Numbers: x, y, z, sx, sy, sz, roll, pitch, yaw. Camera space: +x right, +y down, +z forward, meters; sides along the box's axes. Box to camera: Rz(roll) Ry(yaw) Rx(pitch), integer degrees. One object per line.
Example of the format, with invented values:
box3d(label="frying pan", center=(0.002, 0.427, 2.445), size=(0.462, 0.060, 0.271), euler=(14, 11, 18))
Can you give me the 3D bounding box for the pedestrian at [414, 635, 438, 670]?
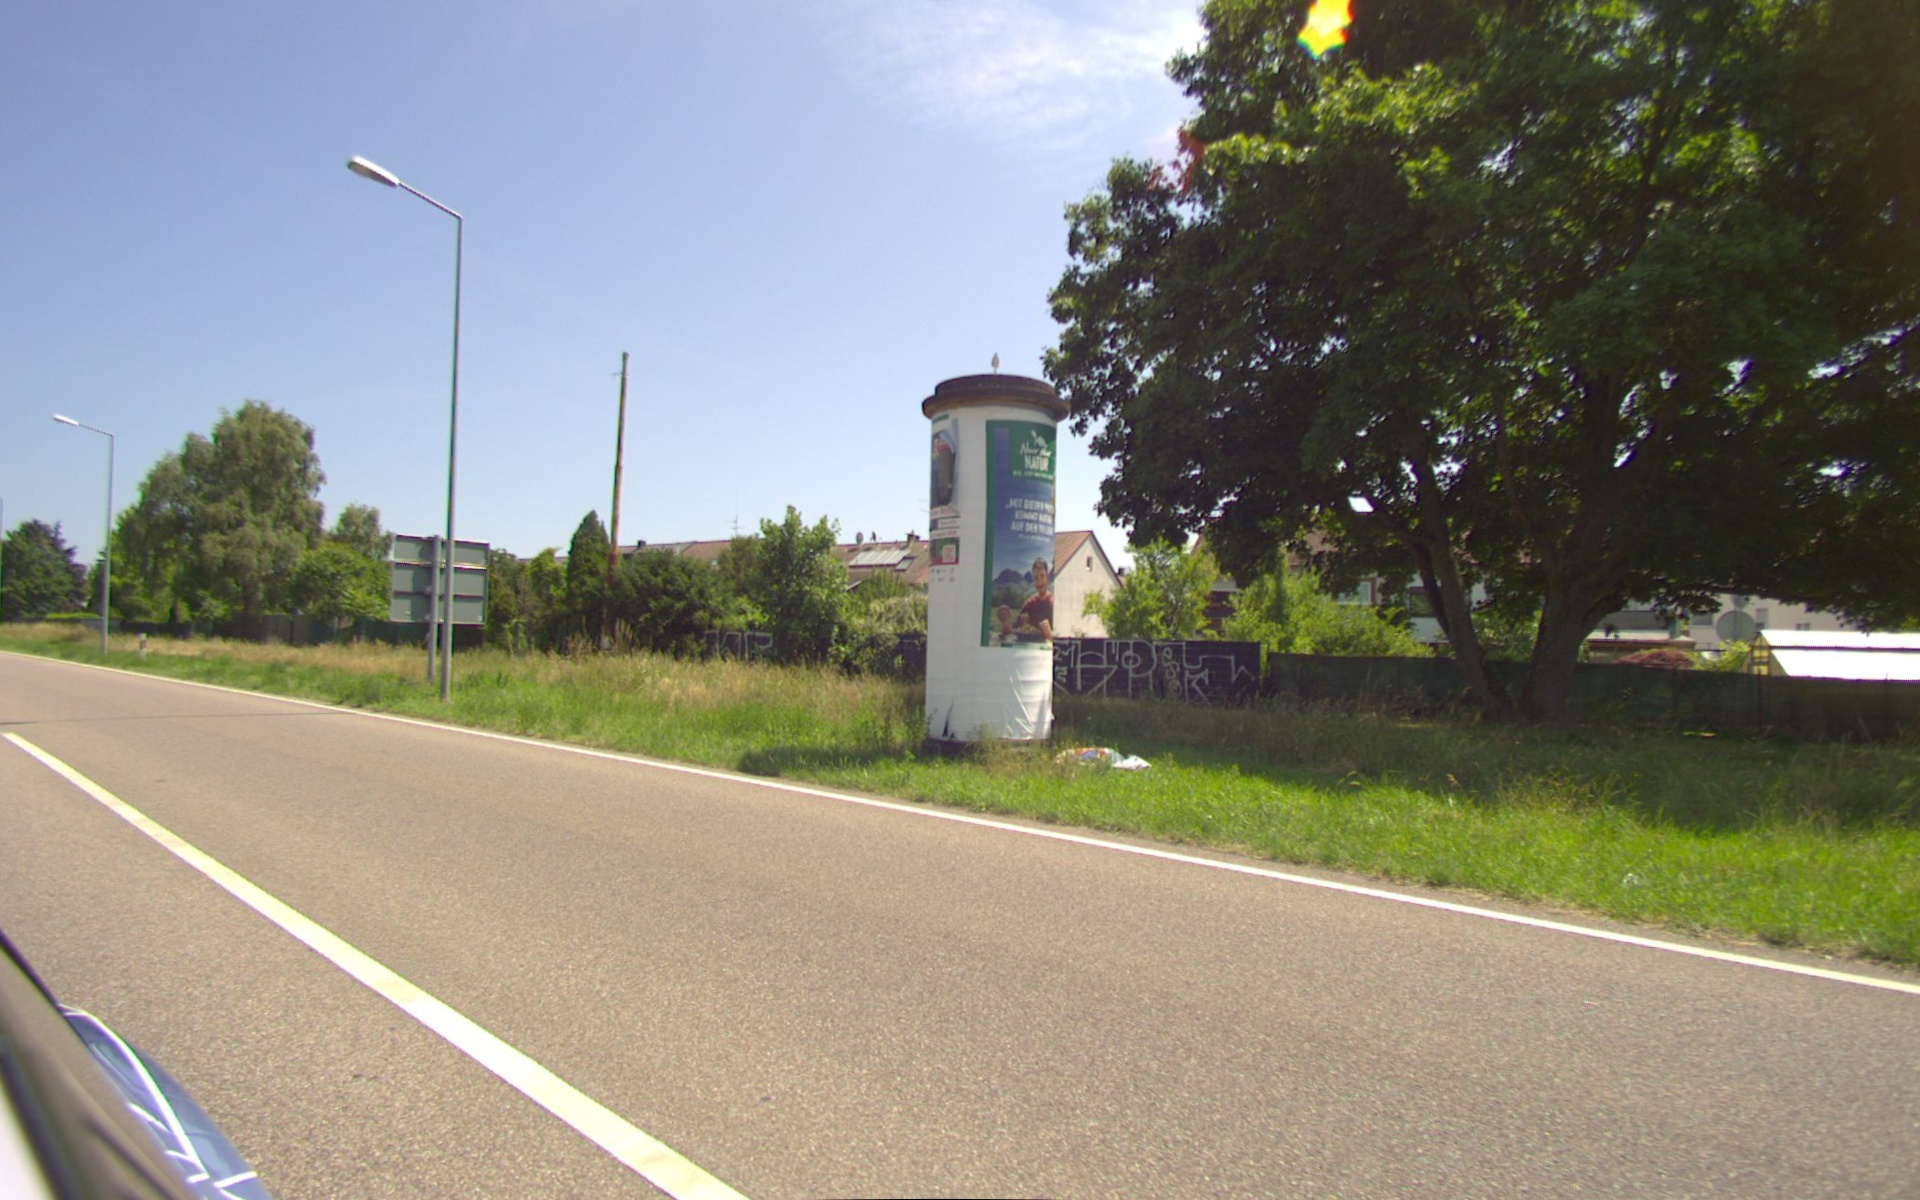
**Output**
box3d(label="pedestrian", center=(-21.110, 2.067, 40.009), size=(0.798, 1.365, 0.575), euler=(-1, -3, 41))
